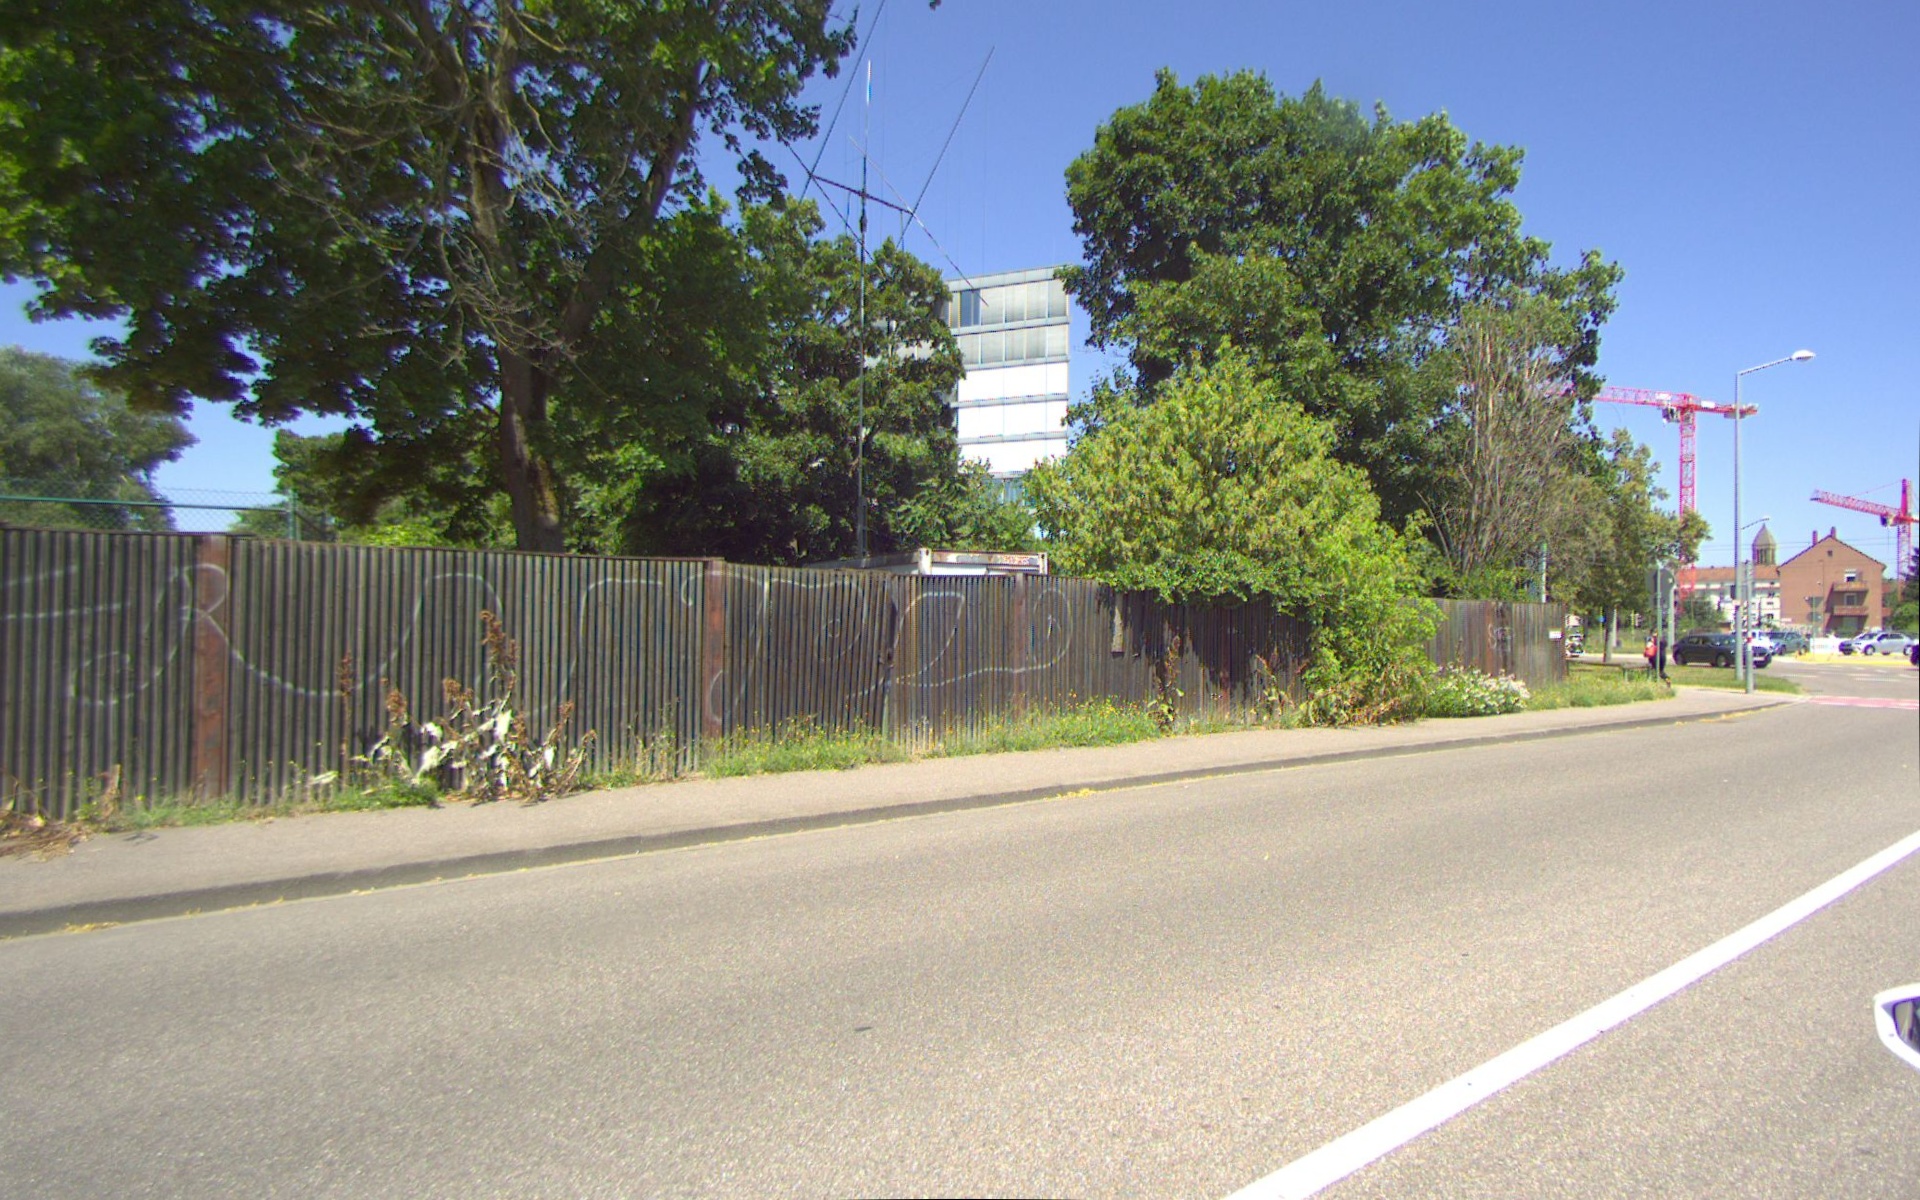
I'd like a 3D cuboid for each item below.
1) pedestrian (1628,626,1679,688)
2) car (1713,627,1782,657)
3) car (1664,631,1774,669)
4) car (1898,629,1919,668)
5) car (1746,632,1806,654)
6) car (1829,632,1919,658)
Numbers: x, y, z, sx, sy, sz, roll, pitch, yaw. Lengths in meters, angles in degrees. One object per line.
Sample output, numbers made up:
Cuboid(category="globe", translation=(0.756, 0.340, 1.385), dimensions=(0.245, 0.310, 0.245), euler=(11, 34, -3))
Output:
Cuboid(category="pedestrian", translation=(18.478, 1.505, 26.779), dimensions=(0.794, 1.584, 0.877), euler=(1, 0, 6))
Cuboid(category="car", translation=(44.466, 2.359, 56.728), dimensions=(3.953, 1.570, 1.748), euler=(2, -1, -30))
Cuboid(category="car", translation=(33.118, 2.139, 43.996), dimensions=(1.959, 1.461, 4.221), euler=(1, -1, 6))
Cuboid(category="car", translation=(37.952, 1.879, 37.386), dimensions=(1.963, 1.461, 4.197), euler=(1, -1, -7))
Cuboid(category="car", translation=(48.677, 2.555, 59.895), dimensions=(3.745, 1.253, 1.697), euler=(2, -1, -32))
Cuboid(category="car", translation=(57.581, 2.825, 63.277), dimensions=(4.136, 1.520, 1.713), euler=(1, -1, 3))
